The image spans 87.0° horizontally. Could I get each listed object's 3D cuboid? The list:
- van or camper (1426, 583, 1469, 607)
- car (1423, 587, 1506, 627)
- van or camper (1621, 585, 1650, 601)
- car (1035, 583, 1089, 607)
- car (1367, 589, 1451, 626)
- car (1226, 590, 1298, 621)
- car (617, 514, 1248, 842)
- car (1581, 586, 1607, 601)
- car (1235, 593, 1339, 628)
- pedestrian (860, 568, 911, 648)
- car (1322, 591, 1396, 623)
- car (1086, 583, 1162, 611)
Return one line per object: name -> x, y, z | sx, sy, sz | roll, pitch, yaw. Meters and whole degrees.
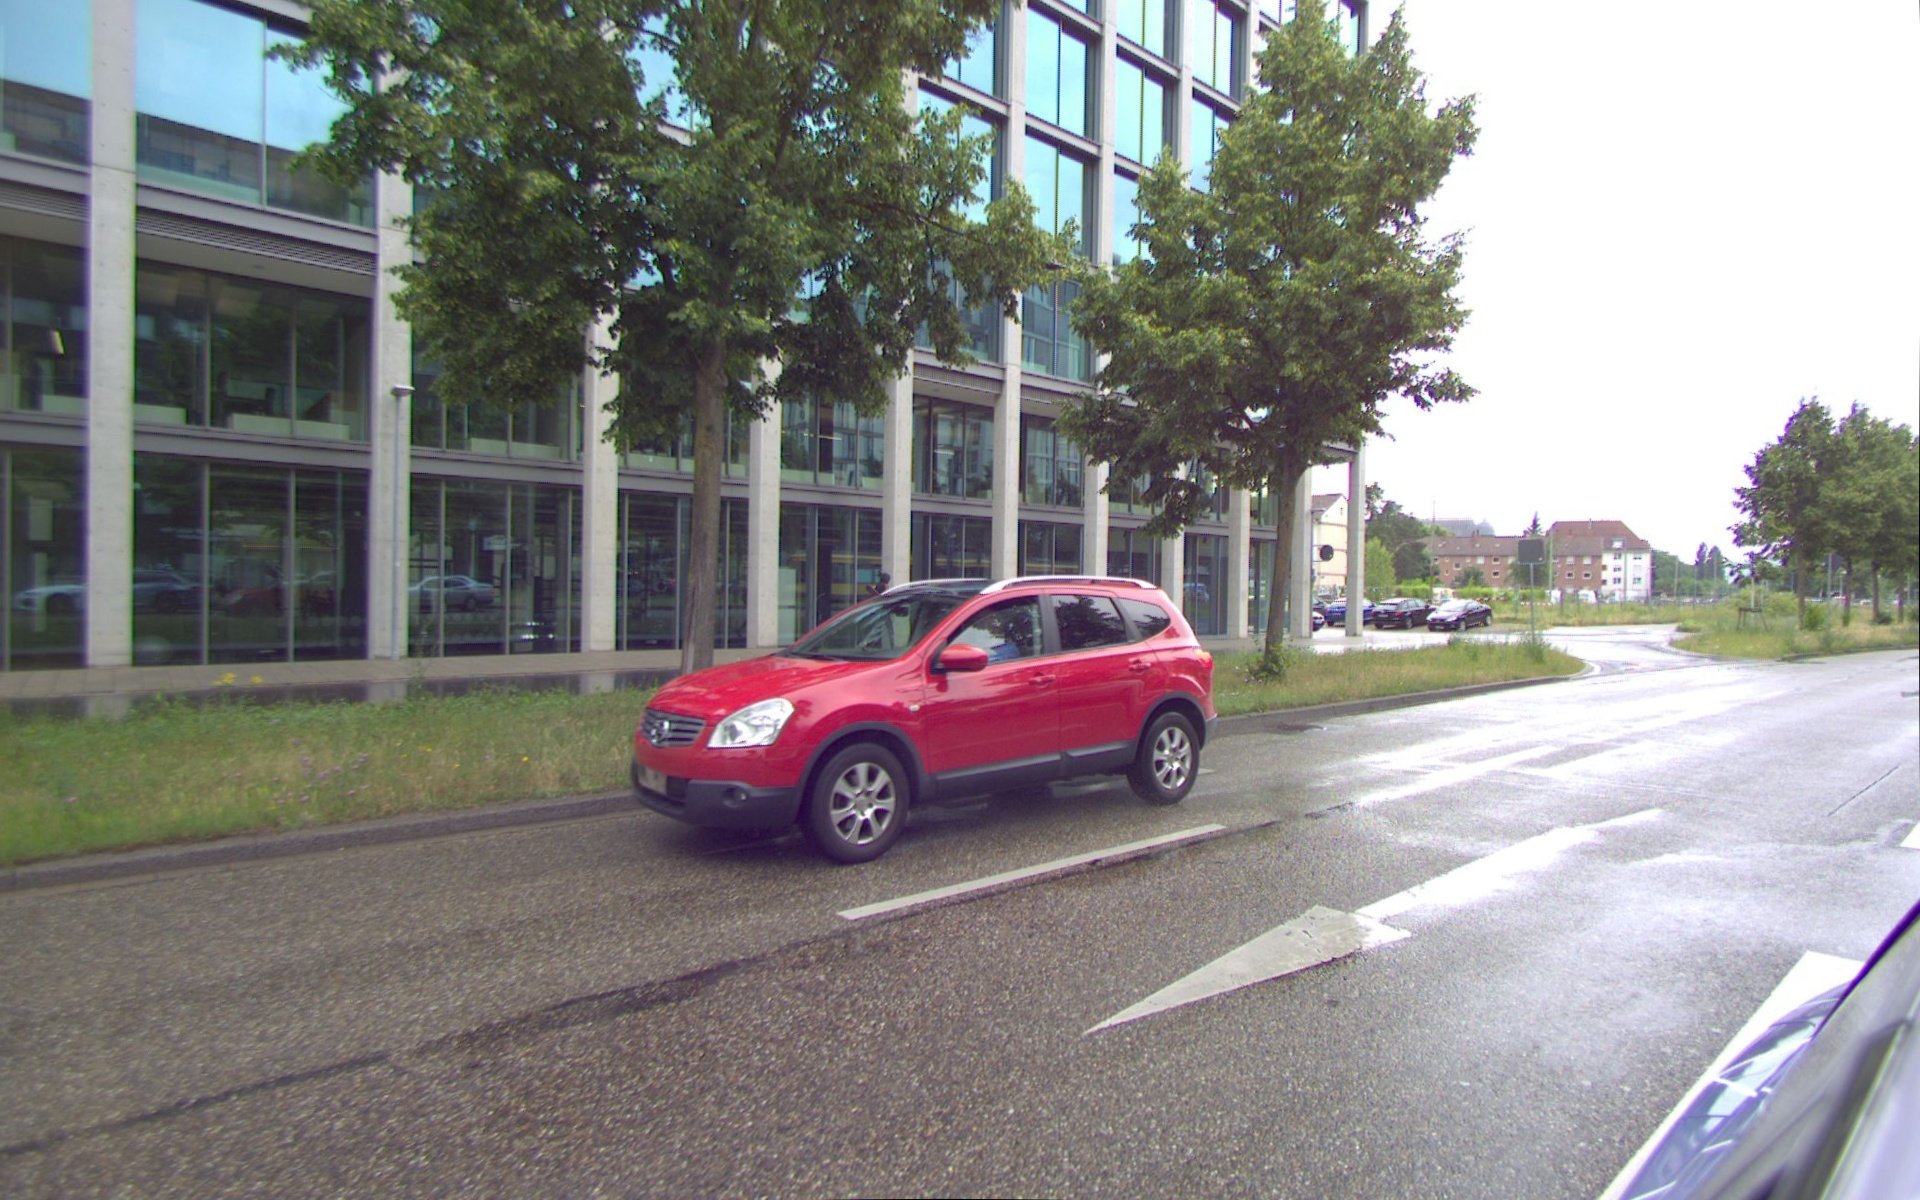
van or camper -> 55.404, -0.571, 114.926 | 6.289, 2.723, 2.311 | 0, 1, -43
car -> 24.493, 0.318, 49.134 | 3.925, 1.599, 1.862 | -6, 3, -33
van or camper -> 97.998, -1.011, 146.842 | 6.045, 2.337, 2.204 | 0, -1, -43
car -> 7.586, -0.359, 75.131 | 3.967, 1.514, 1.857 | -5, 4, -43
car -> 22.812, 0.360, 51.401 | 4.474, 1.472, 1.861 | -5, 4, -35
car -> 17.465, 0.272, 58.481 | 4.152, 1.492, 1.791 | -4, 3, -35
car -> 0.008, 0.499, 7.072 | 4.168, 1.633, 1.798 | 3, -4, -39
car -> 96.873, -0.963, 154.656 | 4.681, 2.248, 2.273 | 0, 0, -44
car -> 15.085, 0.486, 46.863 | 1.943, 1.456, 4.232 | 3, -1, -35
pedestrian -> -1.677, 0.173, 22.704 | 0.846, 1.736, 0.718 | 1, 2, -41
car -> 21.309, 0.323, 54.018 | 3.926, 1.472, 1.861 | -3, 2, -35
car -> 8.950, -0.175, 55.495 | 1.825, 1.390, 4.000 | 2, 0, -35
